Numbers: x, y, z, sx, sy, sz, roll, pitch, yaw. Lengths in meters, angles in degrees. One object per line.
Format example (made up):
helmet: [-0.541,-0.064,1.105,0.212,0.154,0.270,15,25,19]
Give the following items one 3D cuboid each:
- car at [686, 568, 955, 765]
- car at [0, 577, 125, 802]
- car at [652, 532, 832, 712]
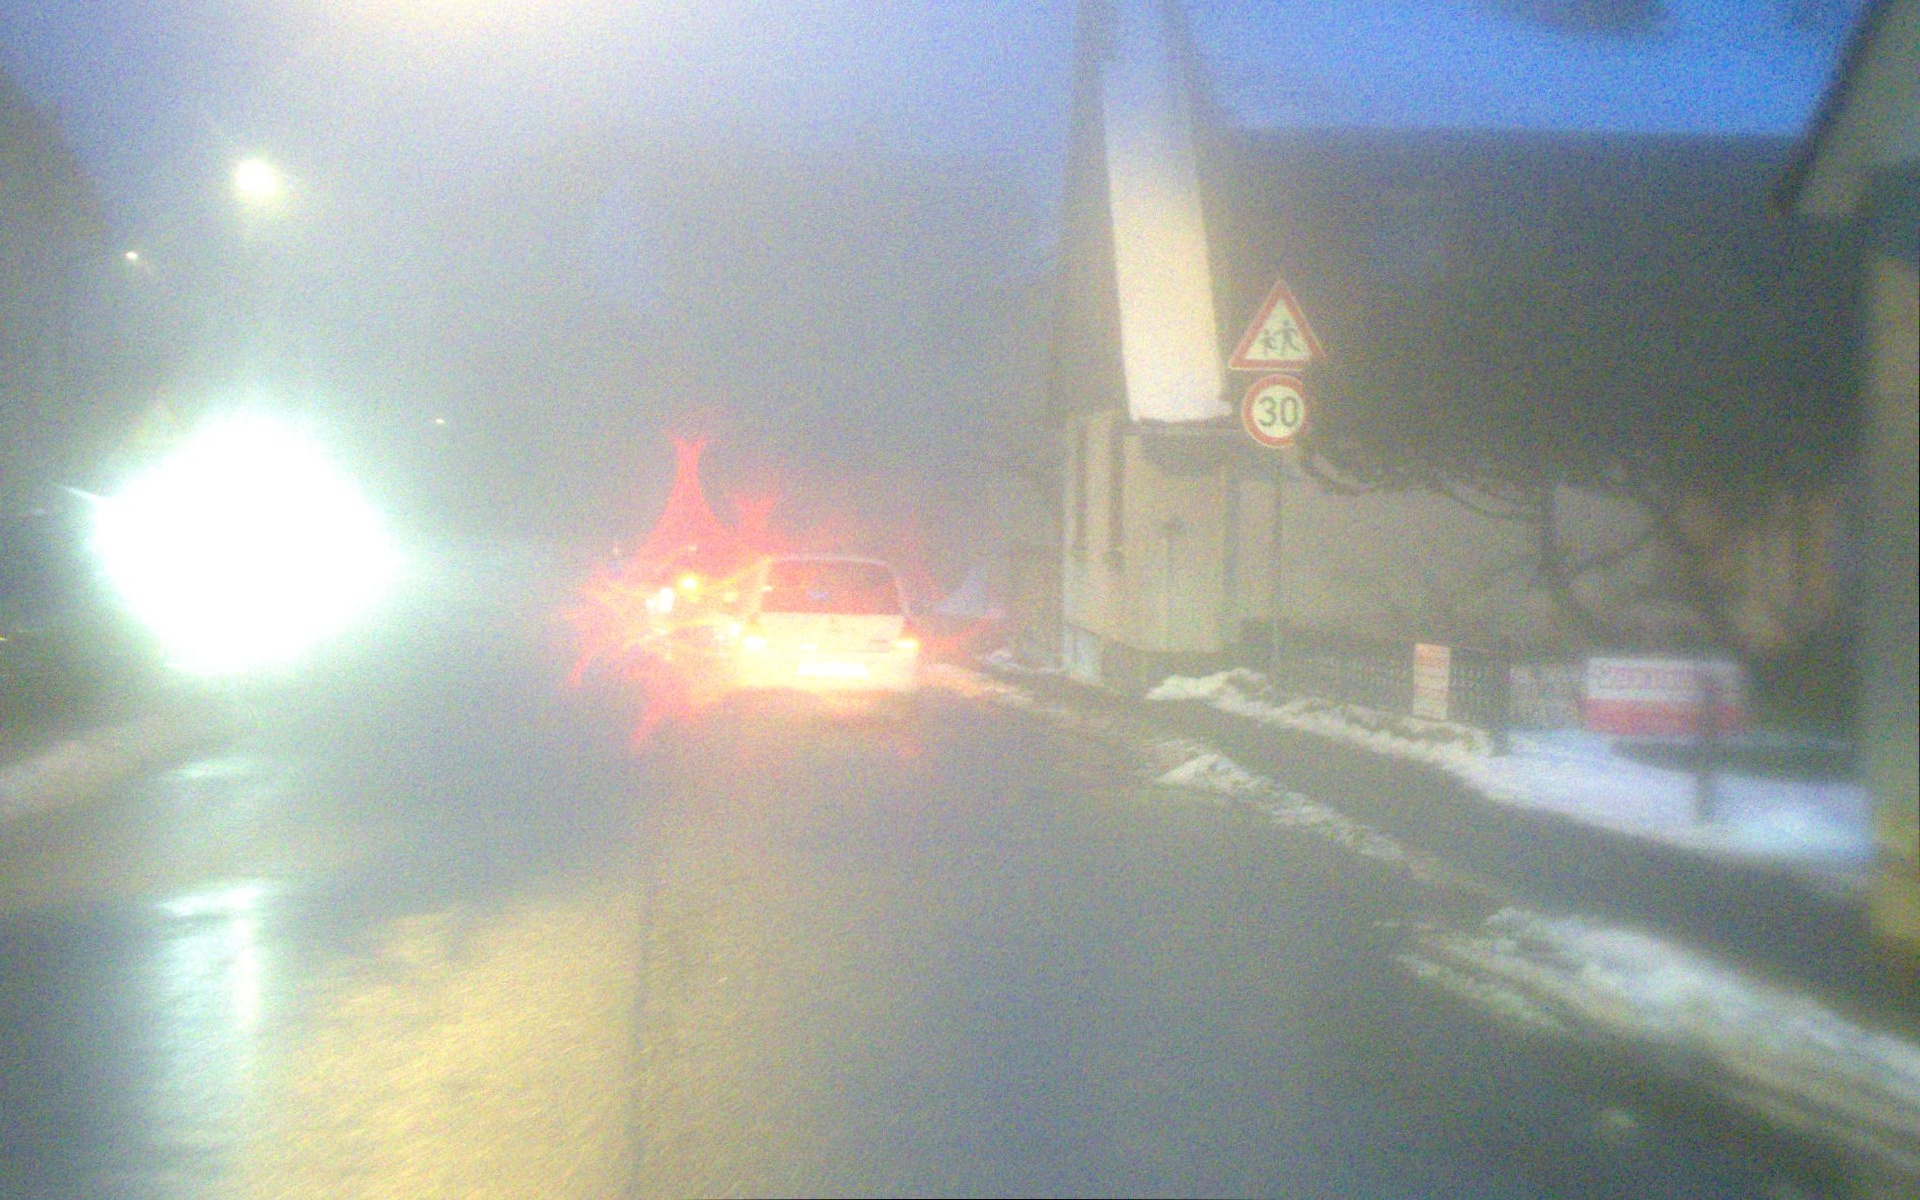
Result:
car: [-1.294,0.560,30.046,1.993,1.503,4.001,3,-1,-6]
car: [-8.020,0.644,27.888,1.993,1.517,4.192,3,2,-9]
car: [-2.706,0.278,42.314,1.993,2.007,4.000,3,-1,-4]
